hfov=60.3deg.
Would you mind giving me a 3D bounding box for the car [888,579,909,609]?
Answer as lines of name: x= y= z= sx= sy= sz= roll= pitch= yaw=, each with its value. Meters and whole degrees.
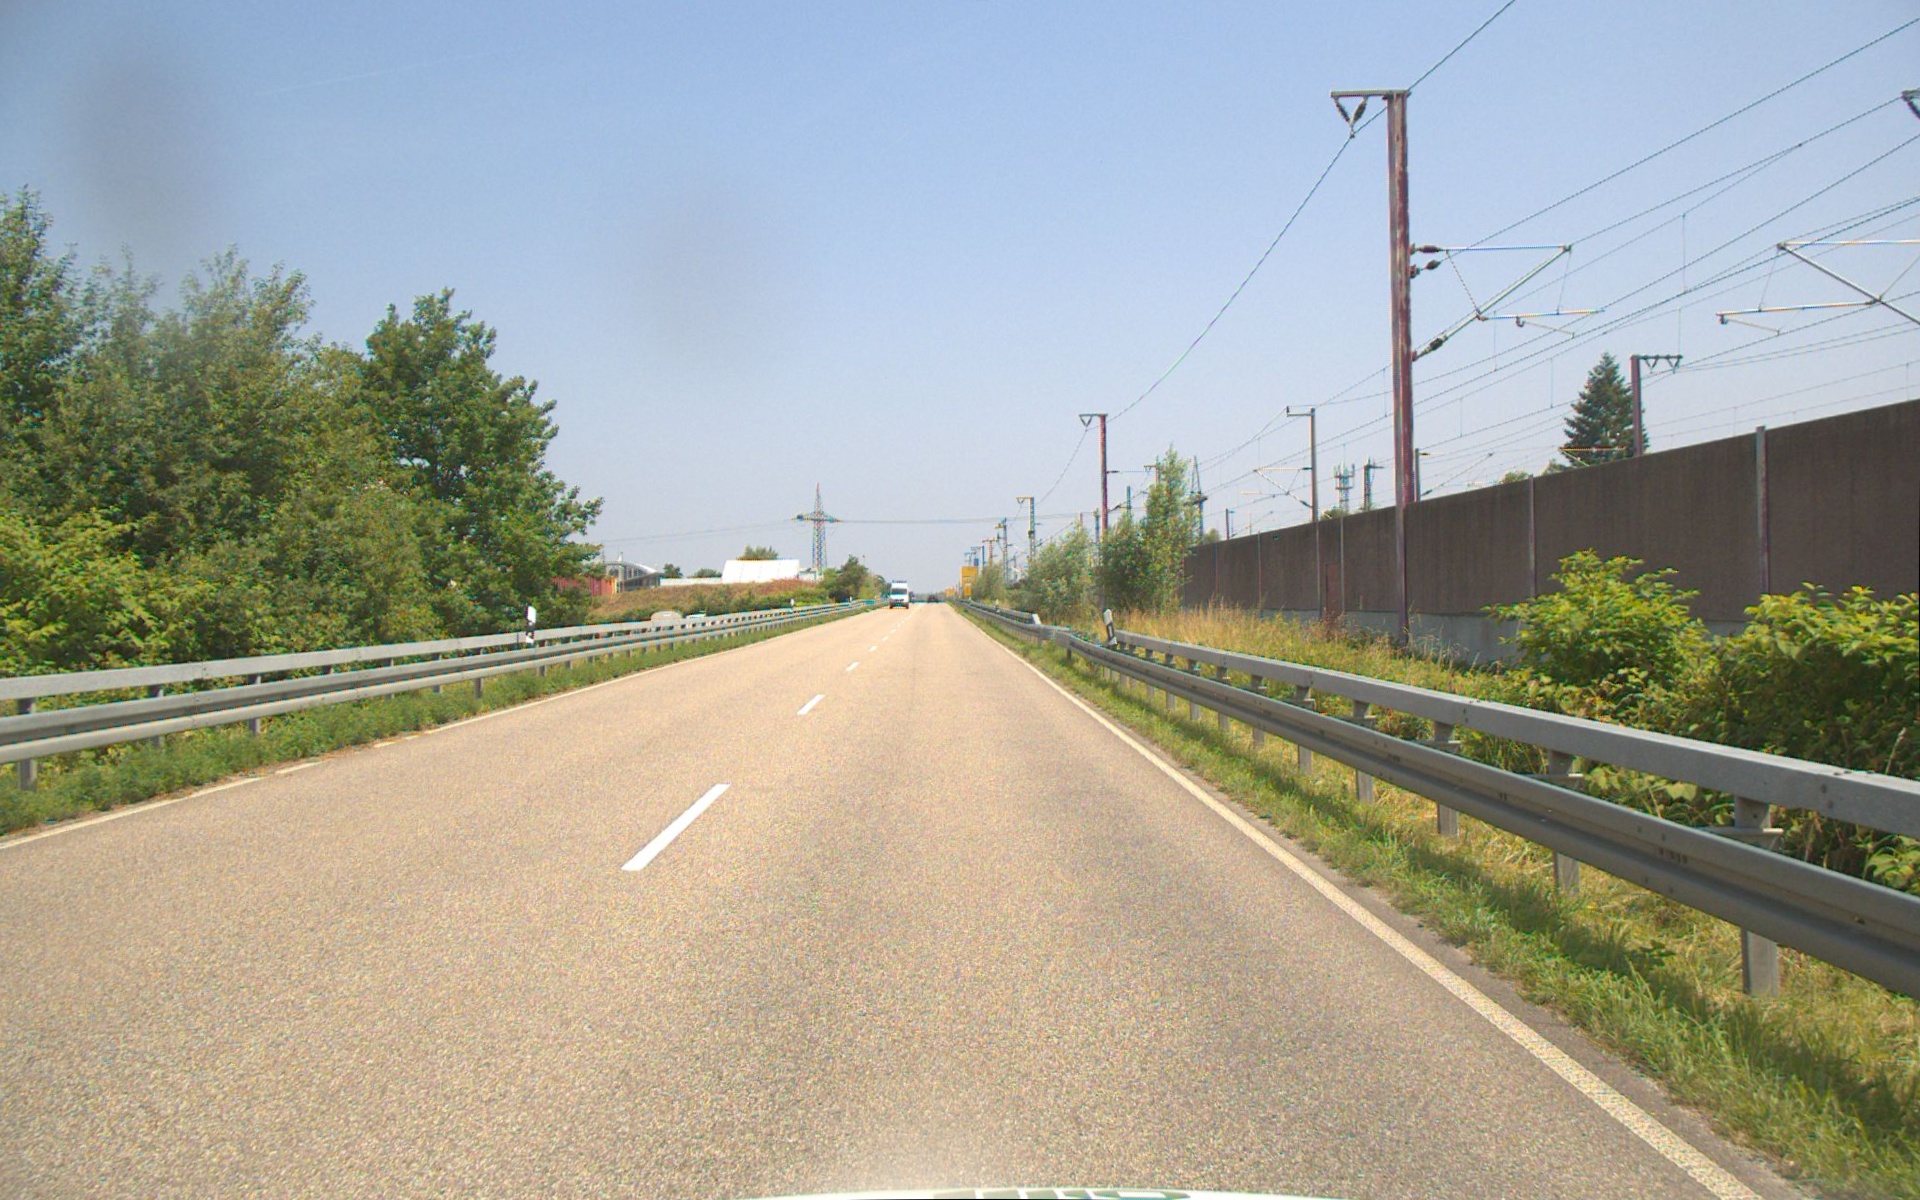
car: x=-6.347 y=-0.586 z=170.792 sx=2.037 sy=3.014 sz=6.728 roll=1 pitch=0 yaw=-1
